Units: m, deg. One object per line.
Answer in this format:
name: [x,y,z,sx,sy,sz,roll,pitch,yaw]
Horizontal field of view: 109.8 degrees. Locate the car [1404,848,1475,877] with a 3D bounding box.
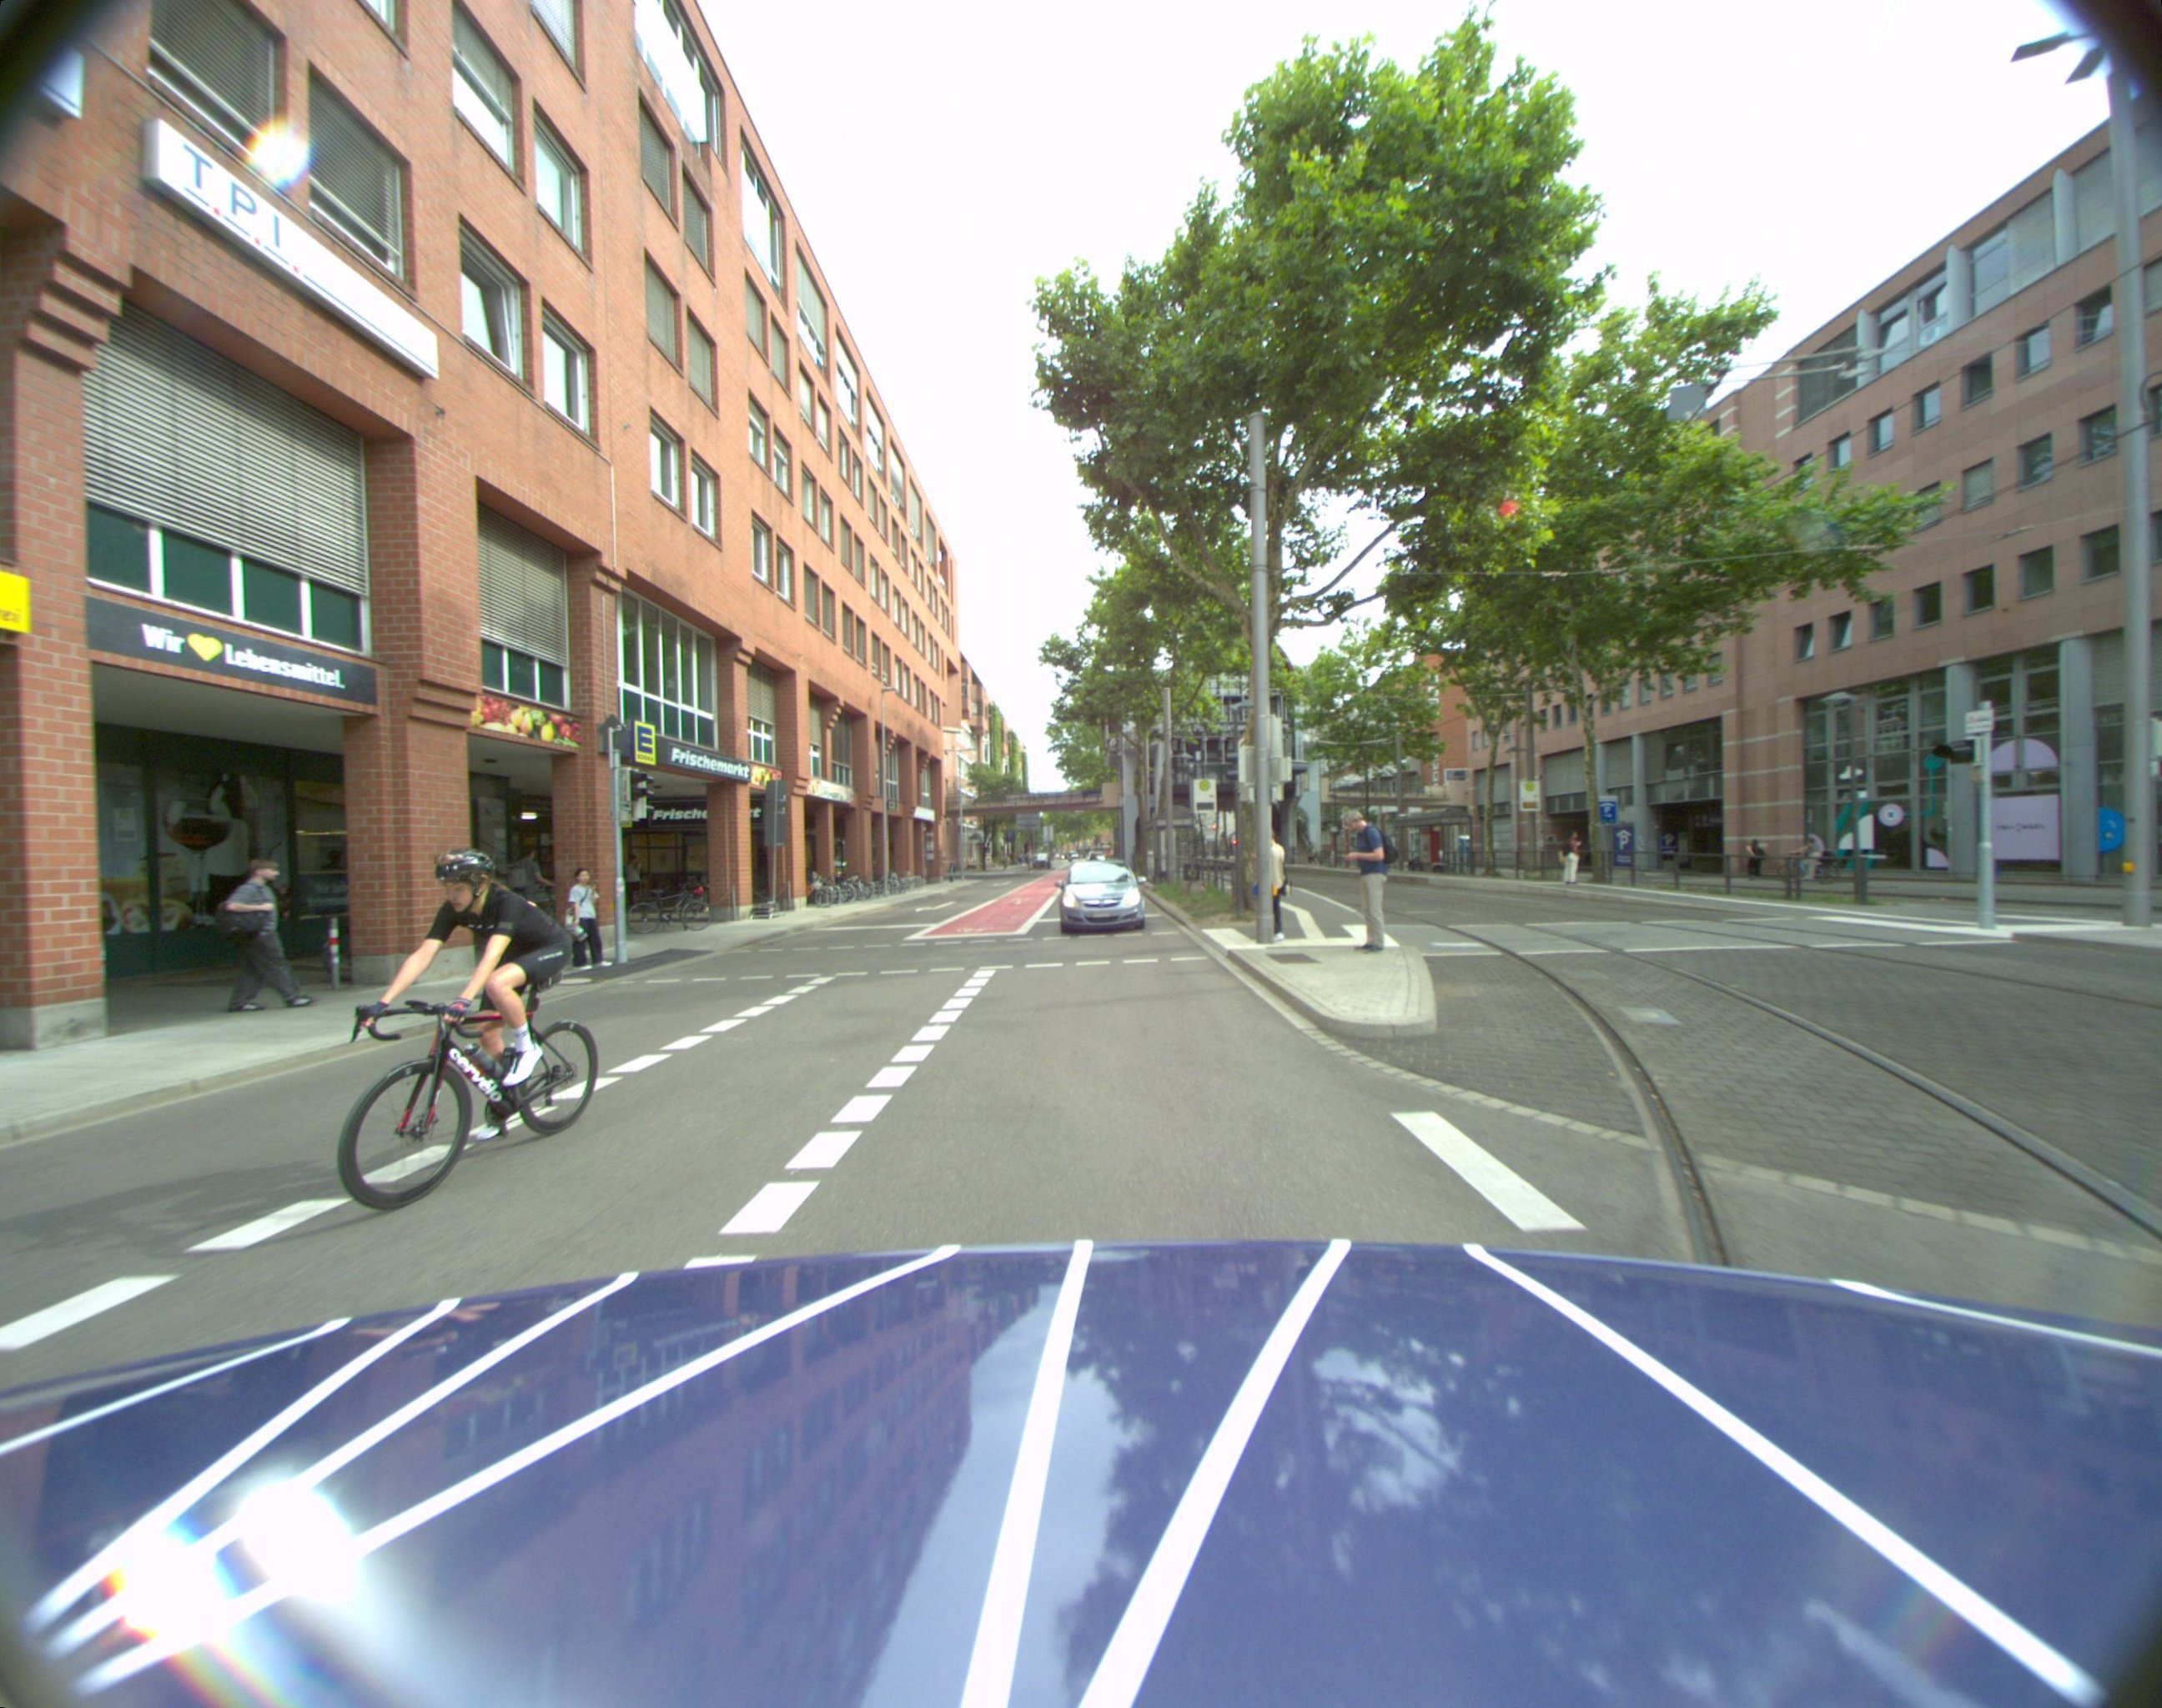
car: [19.754,0.451,42.089,1.868,1.464,4.295,-1,0,0]

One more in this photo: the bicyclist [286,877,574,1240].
bicyclist: [-3.248,0.951,3.888,0.613,1.594,0.847,-4,1,1]

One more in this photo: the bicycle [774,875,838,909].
bicycle: [-9.007,1.250,24.917,1.859,1.034,0.507,-2,1,2]

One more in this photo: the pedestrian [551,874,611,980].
pedestrian: [-8.032,1.154,12.225,0.407,1.622,0.732,0,1,9]

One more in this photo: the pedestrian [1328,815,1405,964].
pedestrian: [3.741,0.451,10.021,0.693,1.864,0.807,-2,1,2]

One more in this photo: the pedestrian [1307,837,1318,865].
pedestrian: [14.567,-0.175,47.753,0.482,1.761,0.481,-2,1,-6]

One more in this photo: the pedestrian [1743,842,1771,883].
pedestrian: [25.897,0.317,29.100,0.529,1.564,0.601,-1,1,1]

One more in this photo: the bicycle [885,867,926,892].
bicycle: [-8.555,1.233,37.024,1.859,1.134,0.534,-1,1,2]

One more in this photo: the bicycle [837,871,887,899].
bicycle: [-8.793,1.240,30.538,1.859,1.105,0.534,-1,1,2]

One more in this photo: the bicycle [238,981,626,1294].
bicycle: [-3.221,1.325,4.031,0.489,0.994,1.748,-3,0,1]

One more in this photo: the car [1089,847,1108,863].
car: [1.856,0.049,81.227,1.957,1.592,4.000,-2,1,2]

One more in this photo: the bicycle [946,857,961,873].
bicycle: [-11.475,0.956,68.603,0.746,1.382,2.980,-2,0,1]

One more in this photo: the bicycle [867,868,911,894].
bicycle: [-8.744,1.234,34.676,1.859,1.134,0.534,-1,1,2]

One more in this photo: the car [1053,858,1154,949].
car: [0.369,0.889,15.568,1.723,1.395,3.998,-4,2,-1]

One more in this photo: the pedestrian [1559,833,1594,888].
pedestrian: [14.343,0.177,22.008,0.658,1.529,0.558,-2,3,-3]

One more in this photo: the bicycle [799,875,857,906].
bicycle: [-8.951,1.283,26.932,1.859,1.034,0.534,-1,1,2]

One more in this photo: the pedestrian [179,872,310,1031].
pedestrian: [-9.351,1.061,8.522,0.647,1.686,0.697,0,1,-1]

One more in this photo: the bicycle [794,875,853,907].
bicycle: [-8.890,1.264,26.246,1.859,1.034,0.534,-1,1,2]

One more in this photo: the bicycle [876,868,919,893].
bicycle: [-8.640,1.262,35.809,1.859,1.134,0.534,-1,1,2]

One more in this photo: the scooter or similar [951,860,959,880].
scooter or similar: [-7.992,0.993,48.259,0.272,1.250,0.921,-2,1,2]

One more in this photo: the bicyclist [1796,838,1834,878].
bicyclist: [25.276,0.135,26.166,0.552,1.373,0.737,-2,1,-11]

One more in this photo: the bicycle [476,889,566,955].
bicycle: [-10.873,1.289,14.830,0.630,1.078,1.748,3,1,-7]

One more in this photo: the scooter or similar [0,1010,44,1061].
scooter or similar: [-10.134,1.713,6.878,0.263,0.416,0.891,-2,0,-1]

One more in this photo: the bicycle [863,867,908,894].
bicycle: [-8.774,1.194,34.144,1.859,1.134,0.534,-1,1,2]

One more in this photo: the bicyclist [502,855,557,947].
bicyclist: [-11.021,0.913,15.182,0.619,1.769,0.767,3,2,41]

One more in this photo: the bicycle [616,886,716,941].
bicycle: [-9.278,1.298,17.042,0.628,1.078,1.868,1,1,41]

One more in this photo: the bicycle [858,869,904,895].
bicycle: [-8.842,1.236,33.639,1.859,1.134,0.534,-1,1,2]

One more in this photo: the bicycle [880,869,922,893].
bicycle: [-8.629,1.291,36.398,1.859,1.134,0.534,-1,1,2]

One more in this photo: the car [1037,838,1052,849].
car: [-5.533,-1.560,115.361,1.957,1.592,4.000,-2,1,2]

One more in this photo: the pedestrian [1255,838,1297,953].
pedestrian: [3.130,0.647,12.180,0.534,1.781,0.578,-1,1,22]

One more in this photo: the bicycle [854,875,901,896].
bicycle: [-8.854,1.370,33.110,1.859,0.865,0.534,-1,1,2]

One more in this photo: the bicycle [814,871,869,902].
bicycle: [-8.876,1.207,28.212,1.859,1.105,0.534,-1,1,2]

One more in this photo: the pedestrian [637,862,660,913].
pedestrian: [-14.154,1.100,24.868,0.385,1.630,0.532,-2,1,1]

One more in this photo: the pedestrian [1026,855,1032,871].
pedestrian: [-5.502,0.912,80.364,0.516,1.645,0.612,-2,1,2]

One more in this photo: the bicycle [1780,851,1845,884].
bicycle: [25.265,0.453,26.259,0.548,1.111,1.588,-2,1,-11]

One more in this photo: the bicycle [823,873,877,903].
bicycle: [-8.816,1.292,29.018,1.859,1.105,0.534,-1,1,2]

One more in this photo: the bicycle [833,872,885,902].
bicycle: [-8.690,1.289,29.819,1.859,1.105,0.534,-1,1,2]

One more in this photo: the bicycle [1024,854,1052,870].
bicycle: [-4.199,0.797,74.468,2.584,1.430,0.769,-2,1,3]

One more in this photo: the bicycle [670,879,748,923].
bicycle: [-10.182,1.271,20.860,0.483,1.078,1.868,1,1,41]

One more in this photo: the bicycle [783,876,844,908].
bicycle: [-8.977,1.279,25.546,1.859,1.034,0.534,-1,1,2]

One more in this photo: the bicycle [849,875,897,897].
bicycle: [-8.873,1.359,32.472,1.859,0.888,0.534,-1,1,2]
